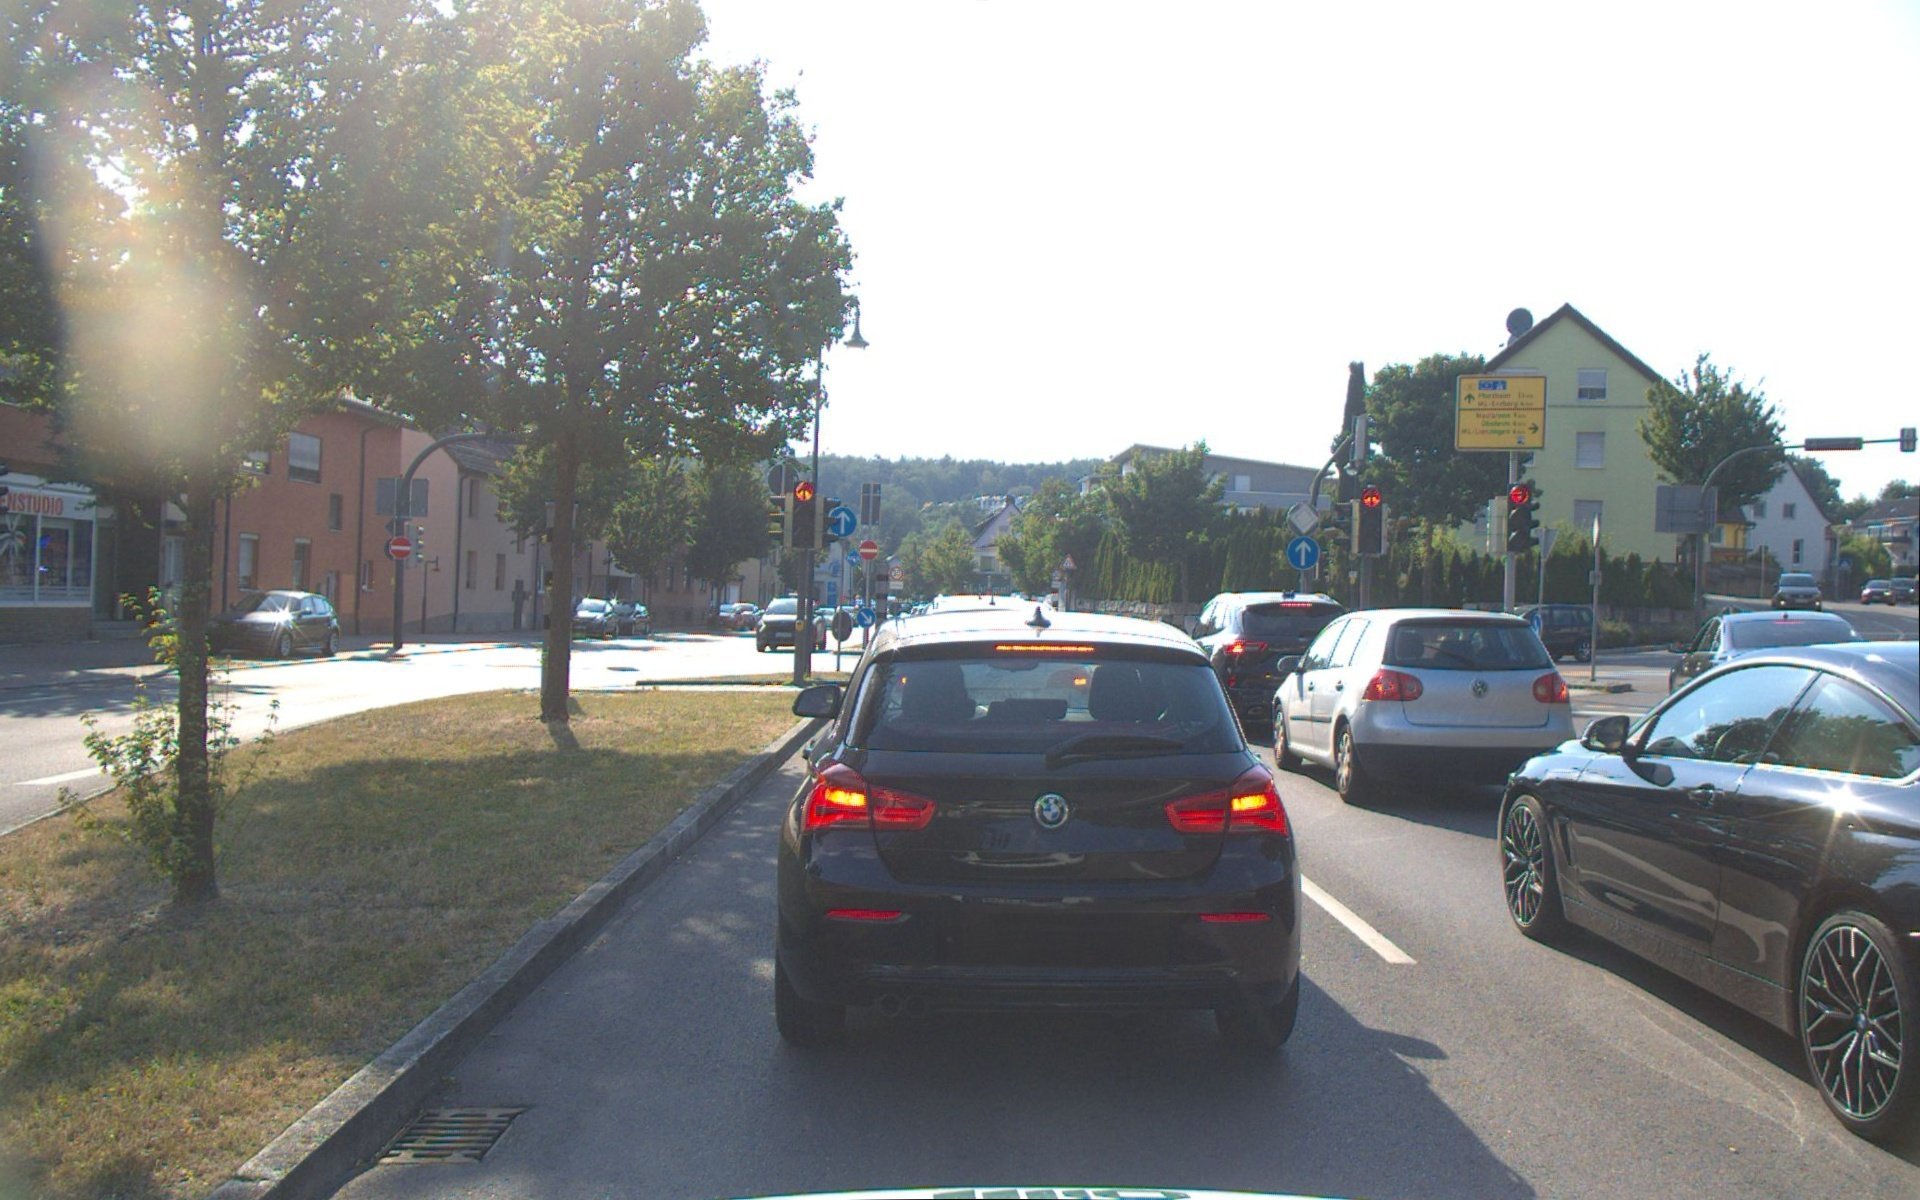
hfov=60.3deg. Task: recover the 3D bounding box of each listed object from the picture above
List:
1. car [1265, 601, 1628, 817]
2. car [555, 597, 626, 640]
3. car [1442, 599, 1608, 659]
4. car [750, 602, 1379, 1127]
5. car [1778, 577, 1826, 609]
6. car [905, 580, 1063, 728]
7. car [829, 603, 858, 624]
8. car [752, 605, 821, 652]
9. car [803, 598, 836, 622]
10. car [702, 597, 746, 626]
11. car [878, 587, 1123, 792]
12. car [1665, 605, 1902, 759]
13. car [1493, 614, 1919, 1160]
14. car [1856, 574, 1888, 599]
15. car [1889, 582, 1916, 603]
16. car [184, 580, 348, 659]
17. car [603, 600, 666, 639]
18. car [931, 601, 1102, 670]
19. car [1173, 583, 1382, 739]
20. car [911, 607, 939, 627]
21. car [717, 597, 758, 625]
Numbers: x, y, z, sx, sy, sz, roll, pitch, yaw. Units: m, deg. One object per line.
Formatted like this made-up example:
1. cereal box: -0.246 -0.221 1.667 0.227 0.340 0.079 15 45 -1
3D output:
1. car: 3.810 0.765 13.767 1.779 1.471 4.347 1 0 1
2. car: -14.886 0.720 66.789 1.884 1.624 4.000 1 0 1
3. car: 15.371 0.779 45.011 3.990 1.533 1.784 1 0 -16
4. car: 0.323 0.747 6.833 1.754 1.439 4.347 1 0 1
5. car: 34.929 -0.304 68.634 1.677 1.266 3.997 1 1 26
6. car: 0.299 0.611 20.948 1.779 1.670 4.242 1 0 1
7. car: -9.146 1.046 130.306 1.884 1.624 4.000 1 0 1
8. car: -5.402 0.857 52.043 1.658 1.377 4.000 1 0 1
9. car: -10.058 0.700 118.593 1.884 1.624 4.000 1 0 1
10. car: -13.821 0.676 97.086 1.884 1.624 4.000 1 0 1
11. car: 0.327 0.650 14.262 1.779 1.476 4.242 1 0 1
12. car: 9.050 0.805 18.519 1.646 1.460 4.592 1 0 17
13. car: 3.468 0.791 5.891 1.779 1.413 4.347 1 0 1
14. car: 61.817 -0.906 112.072 1.744 1.607 3.990 1 0 32
15. car: 74.711 -0.584 131.072 1.744 1.607 3.990 1 0 32
16. car: -15.546 0.413 37.271 1.805 1.579 4.001 3 0 2
17. car: -14.344 0.851 73.064 1.884 1.624 4.000 1 0 1
18. car: 1.300 0.810 39.265 3.933 1.484 1.760 1 0 45
19. car: 3.770 0.668 20.360 1.779 1.695 4.347 1 0 1
20. car: -2.818 1.374 132.829 1.826 1.511 4.652 1 0 -6
21. car: -13.775 0.666 102.592 1.884 1.624 4.000 1 0 1
